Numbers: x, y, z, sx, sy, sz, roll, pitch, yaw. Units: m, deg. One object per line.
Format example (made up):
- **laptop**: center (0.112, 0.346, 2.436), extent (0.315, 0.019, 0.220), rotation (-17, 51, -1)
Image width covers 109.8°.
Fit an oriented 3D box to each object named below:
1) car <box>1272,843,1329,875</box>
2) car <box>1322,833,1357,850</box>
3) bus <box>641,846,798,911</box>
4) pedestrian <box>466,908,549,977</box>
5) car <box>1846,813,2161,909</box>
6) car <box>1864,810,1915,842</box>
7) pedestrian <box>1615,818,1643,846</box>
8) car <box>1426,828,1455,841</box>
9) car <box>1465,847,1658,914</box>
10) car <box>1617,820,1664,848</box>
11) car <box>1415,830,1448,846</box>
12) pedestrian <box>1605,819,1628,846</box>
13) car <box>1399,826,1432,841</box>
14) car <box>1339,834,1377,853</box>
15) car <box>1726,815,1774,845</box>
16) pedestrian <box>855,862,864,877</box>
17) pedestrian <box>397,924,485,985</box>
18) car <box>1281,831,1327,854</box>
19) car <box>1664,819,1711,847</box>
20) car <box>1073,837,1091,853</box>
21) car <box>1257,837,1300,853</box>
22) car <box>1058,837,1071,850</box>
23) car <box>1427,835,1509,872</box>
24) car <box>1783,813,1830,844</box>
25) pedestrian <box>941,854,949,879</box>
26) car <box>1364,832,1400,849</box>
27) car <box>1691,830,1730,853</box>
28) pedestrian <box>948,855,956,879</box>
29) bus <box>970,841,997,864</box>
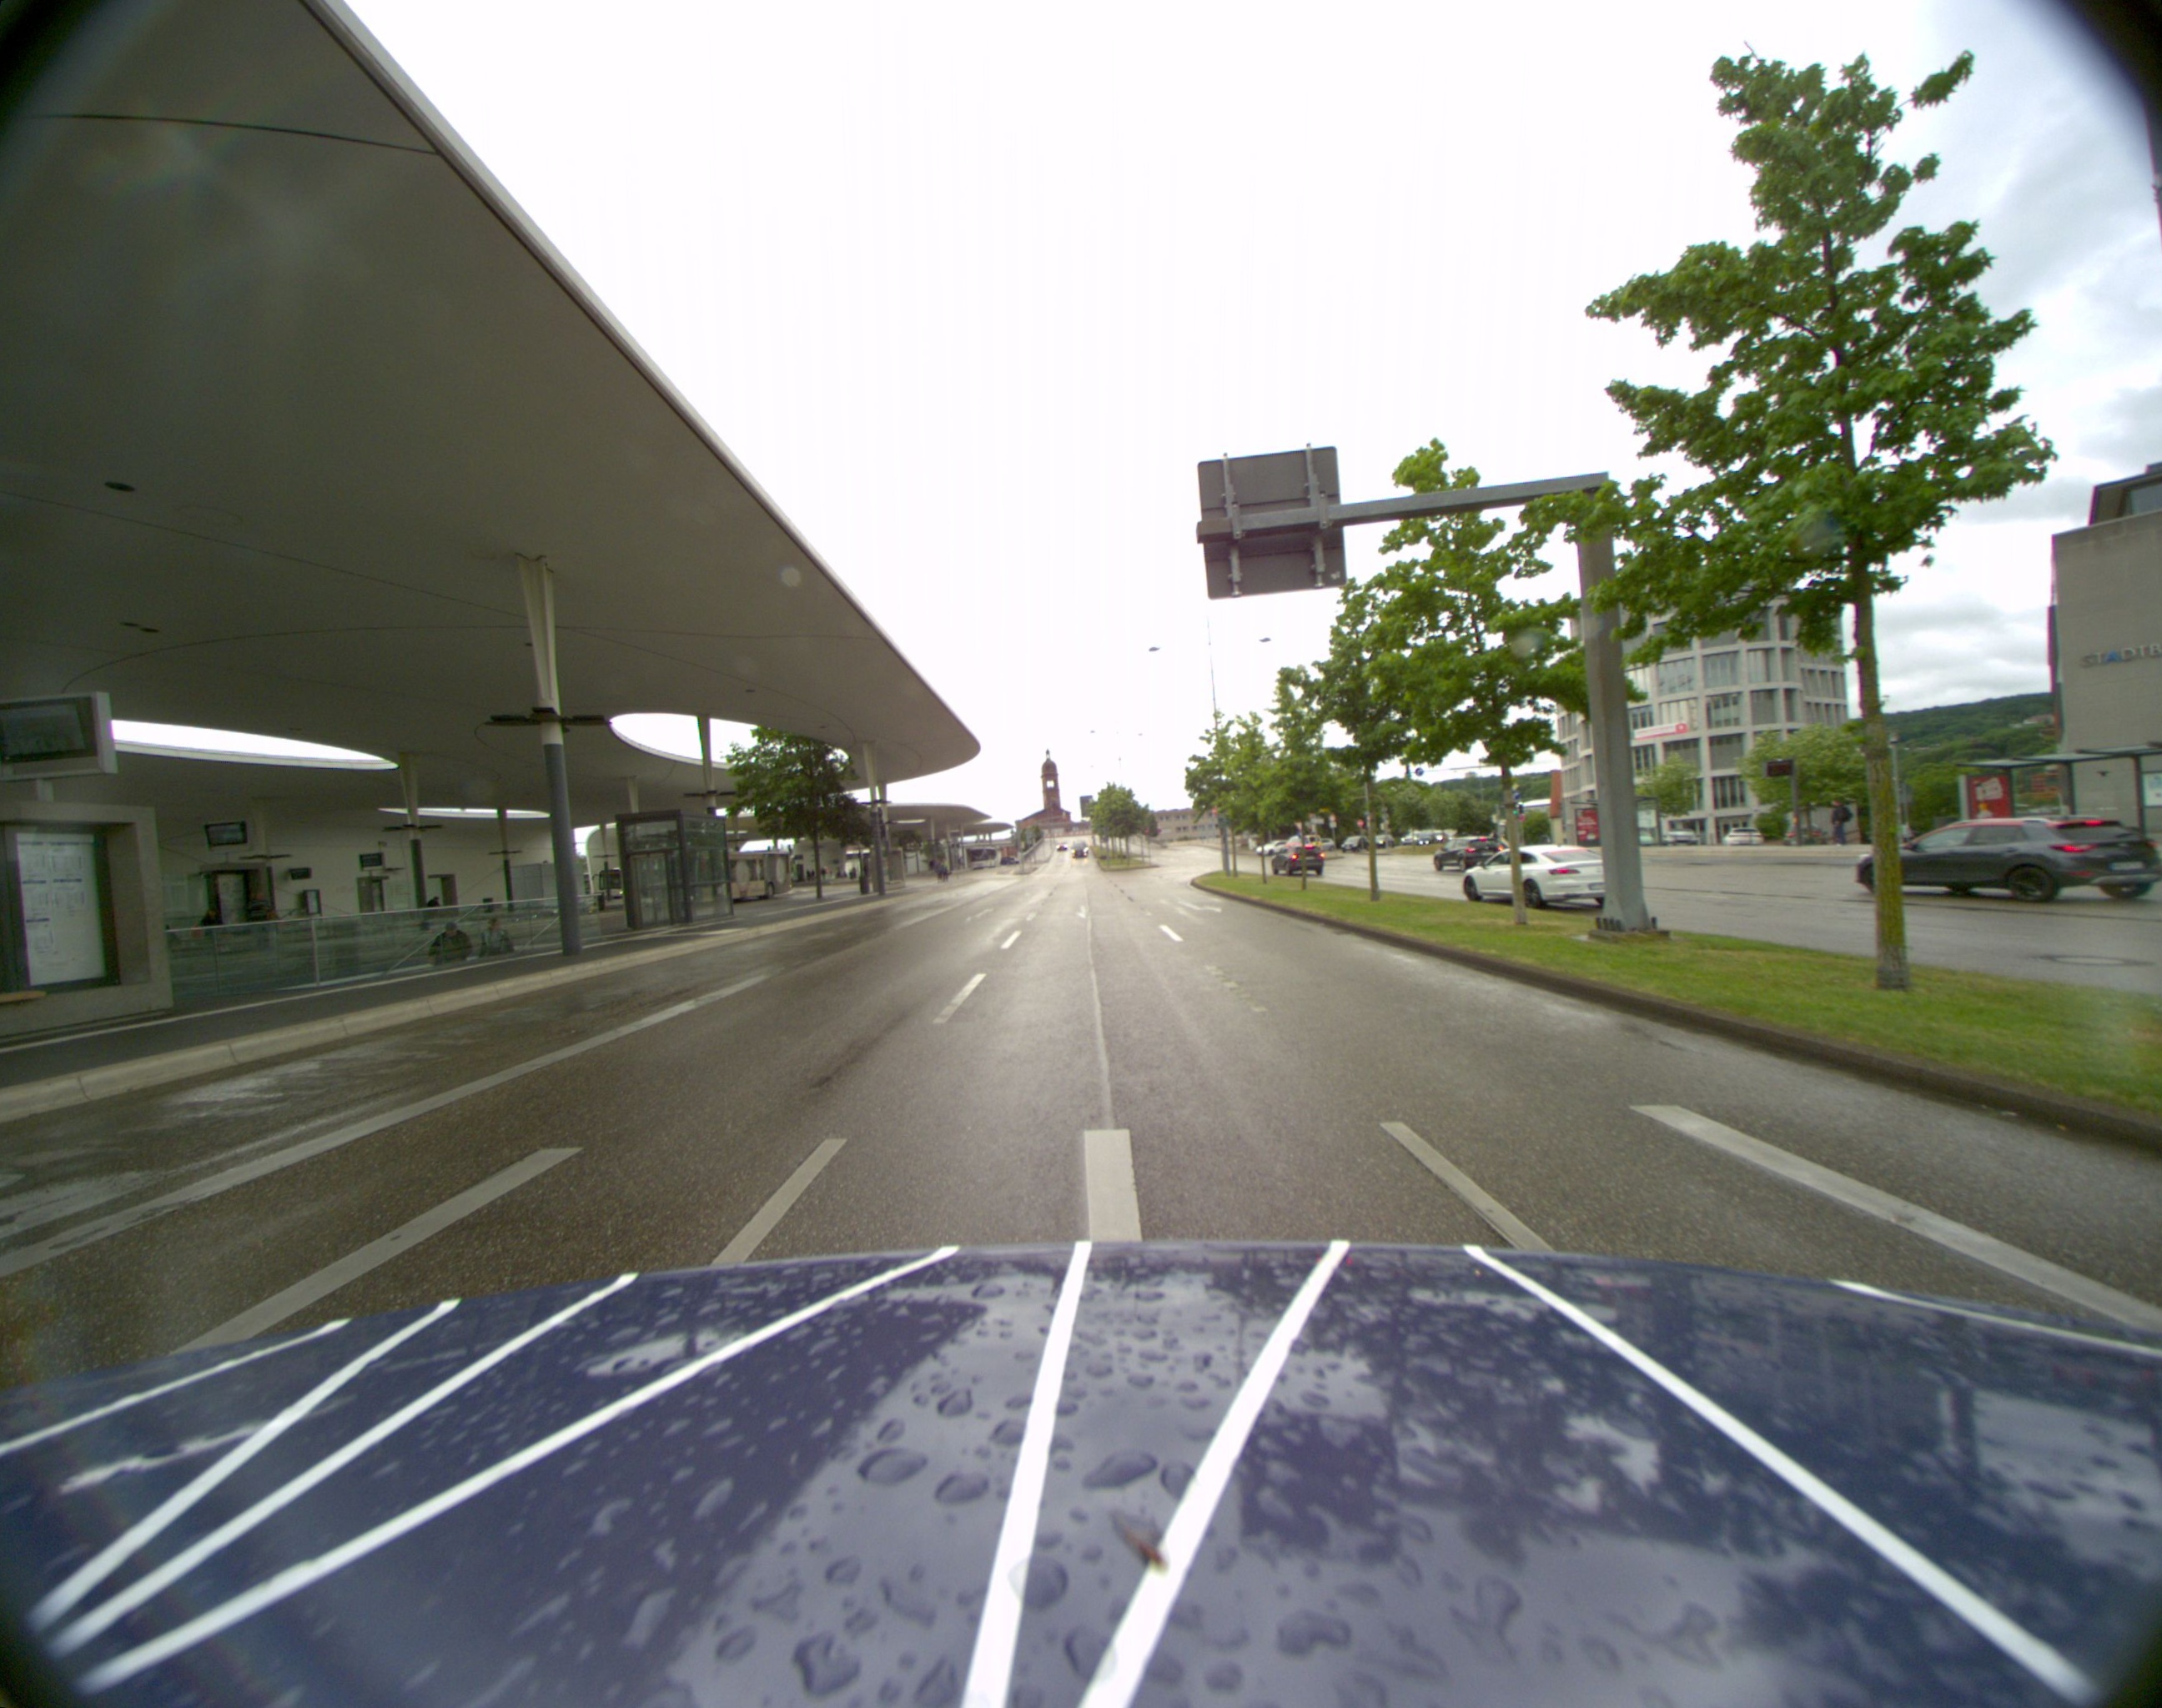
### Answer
- **car**: center (11.676, 0.213, 40.641), extent (2.009, 1.545, 4.165), rotation (-2, 1, 3)
- **car**: center (28.901, -1.393, 84.985), extent (4.165, 1.692, 1.872), rotation (-3, 1, -43)
- **bus**: center (-19.751, 1.126, 42.784), extent (2.876, 3.064, 11.920), rotation (-2, 1, 1)
- **pedestrian**: center (-11.711, 1.797, 15.543), extent (0.882, 1.268, 0.958), rotation (-2, 1, 4)
- **car**: center (17.622, 0.088, 14.622), extent (1.884, 1.545, 4.002), rotation (-2, 1, 3)
- **car**: center (45.832, -1.581, 43.126), extent (4.165, 1.692, 1.872), rotation (-3, 1, -44)
- **pedestrian**: center (29.588, -1.176, 41.038), extent (0.983, 1.481, 0.735), rotation (-2, 1, 11)
- **car**: center (46.609, -2.517, 98.420), extent (4.165, 1.624, 1.872), rotation (-3, 1, -43)
- **car**: center (11.169, 0.539, 18.084), extent (2.010, 1.345, 4.164), rotation (-2, 1, 2)
- **car**: center (37.874, -1.366, 51.370), extent (4.165, 1.692, 1.872), rotation (-3, 1, -44)
- **car**: center (38.647, -1.789, 83.687), extent (4.165, 1.624, 1.872), rotation (-3, 1, -43)
- **pedestrian**: center (29.644, -1.189, 42.062), extent (0.732, 1.481, 0.734), rotation (-2, 1, 9)
- **car**: center (39.552, -2.466, 89.800), extent (4.309, 1.624, 1.872), rotation (-3, 1, -43)
- **car**: center (27.113, -1.035, 74.358), extent (4.165, 1.692, 1.872), rotation (-3, 1, -44)
- **car**: center (41.713, -1.483, 47.351), extent (4.165, 1.692, 1.872), rotation (-3, 1, -44)
- **pedestrian**: center (-31.747, 2.215, 108.944), extent (1.026, 2.002, 0.879), rotation (-3, 1, -15)
- **pedestrian**: center (-12.694, 1.987, 15.099), extent (0.882, 1.048, 0.958), rotation (-2, 1, 4)
- **car**: center (21.655, -1.141, 73.634), extent (5.071, 2.002, 1.994), rotation (-3, 1, -45)
- **car**: center (39.562, -1.410, 49.516), extent (4.165, 1.692, 1.872), rotation (-3, 1, -44)
- **car**: center (0.121, -1.180, 101.225), extent (1.999, 2.002, 3.998), rotation (-2, 1, -5)
- **car**: center (20.662, -0.932, 79.438), extent (4.054, 1.550, 1.809), rotation (-3, 1, -23)
- **car**: center (-2.734, -1.674, 124.924), extent (1.999, 2.002, 3.999), rotation (-2, 1, -1)
- **car**: center (17.707, -0.068, 34.994), extent (1.884, 1.545, 4.002), rotation (-2, 1, 3)
- **car**: center (43.705, -1.550, 45.760), extent (4.165, 1.692, 1.872), rotation (-3, 1, -44)
- **pedestrian**: center (-9.933, 0.909, 55.382), extent (0.445, 1.753, 0.537), rotation (-3, 1, -6)
- **car**: center (31.833, -1.454, 80.353), extent (4.165, 1.692, 1.872), rotation (-3, 1, -43)
- **car**: center (49.535, -0.996, 59.779), extent (4.165, 1.692, 1.872), rotation (-3, 1, -44)
- **pedestrian**: center (-9.432, 0.939, 55.429), extent (0.446, 1.753, 0.537), rotation (-3, 1, -6)
- **bus**: center (-14.693, -0.197, 113.860), extent (3.584, 3.080, 10.746), rotation (-3, 0, -8)
